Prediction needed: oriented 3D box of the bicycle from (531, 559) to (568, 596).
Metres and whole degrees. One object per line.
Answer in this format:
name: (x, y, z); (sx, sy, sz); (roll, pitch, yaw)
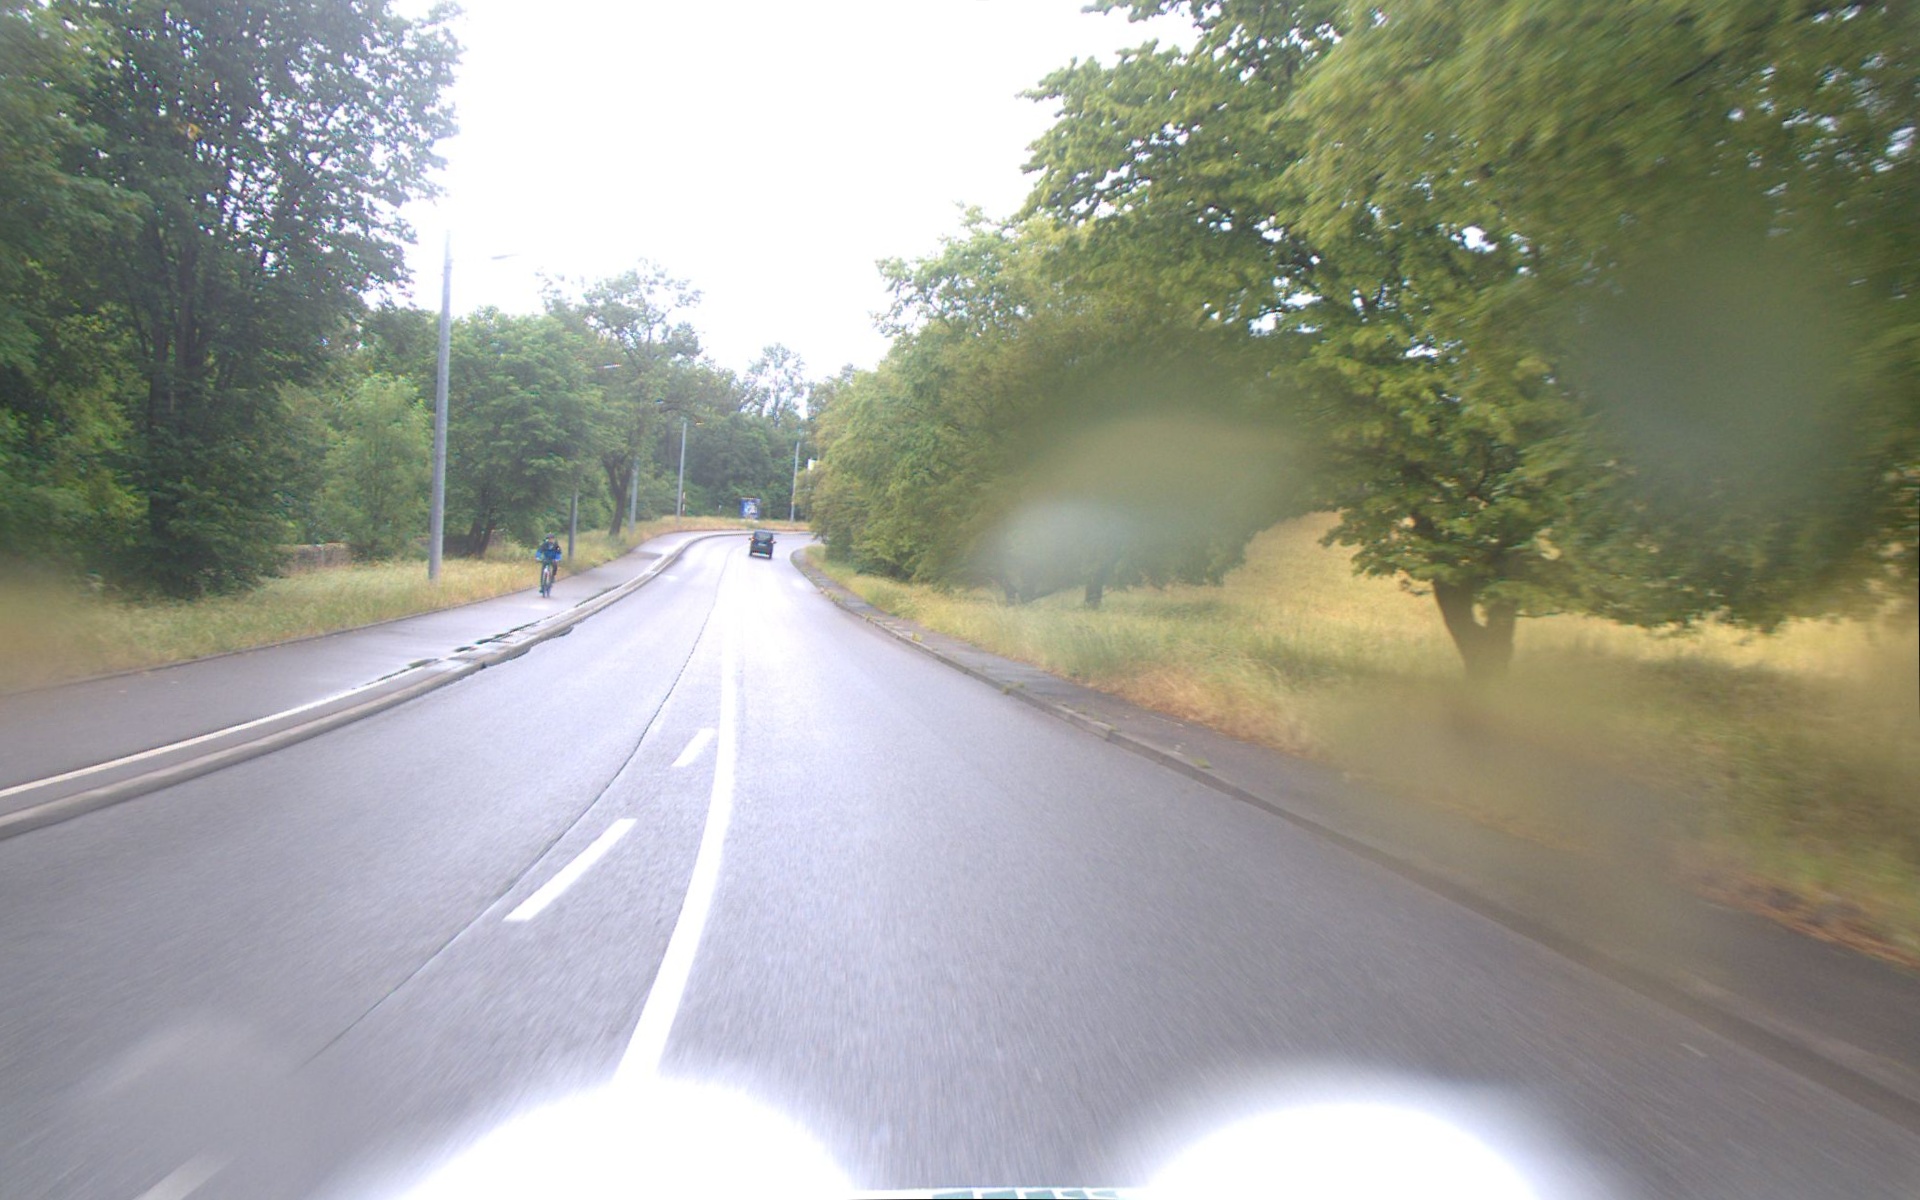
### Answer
bicycle: (-12.073, -0.670, 48.705); (0.710, 0.958, 2.546); (5, 1, -8)

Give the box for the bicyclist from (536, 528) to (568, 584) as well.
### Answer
bicyclist: (-12.041, -1.297, 48.834); (0.695, 1.582, 1.169); (5, 1, -8)

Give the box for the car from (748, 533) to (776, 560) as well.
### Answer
car: (-13.992, -3.792, 117.039); (1.708, 1.746, 3.996); (5, 1, -6)
